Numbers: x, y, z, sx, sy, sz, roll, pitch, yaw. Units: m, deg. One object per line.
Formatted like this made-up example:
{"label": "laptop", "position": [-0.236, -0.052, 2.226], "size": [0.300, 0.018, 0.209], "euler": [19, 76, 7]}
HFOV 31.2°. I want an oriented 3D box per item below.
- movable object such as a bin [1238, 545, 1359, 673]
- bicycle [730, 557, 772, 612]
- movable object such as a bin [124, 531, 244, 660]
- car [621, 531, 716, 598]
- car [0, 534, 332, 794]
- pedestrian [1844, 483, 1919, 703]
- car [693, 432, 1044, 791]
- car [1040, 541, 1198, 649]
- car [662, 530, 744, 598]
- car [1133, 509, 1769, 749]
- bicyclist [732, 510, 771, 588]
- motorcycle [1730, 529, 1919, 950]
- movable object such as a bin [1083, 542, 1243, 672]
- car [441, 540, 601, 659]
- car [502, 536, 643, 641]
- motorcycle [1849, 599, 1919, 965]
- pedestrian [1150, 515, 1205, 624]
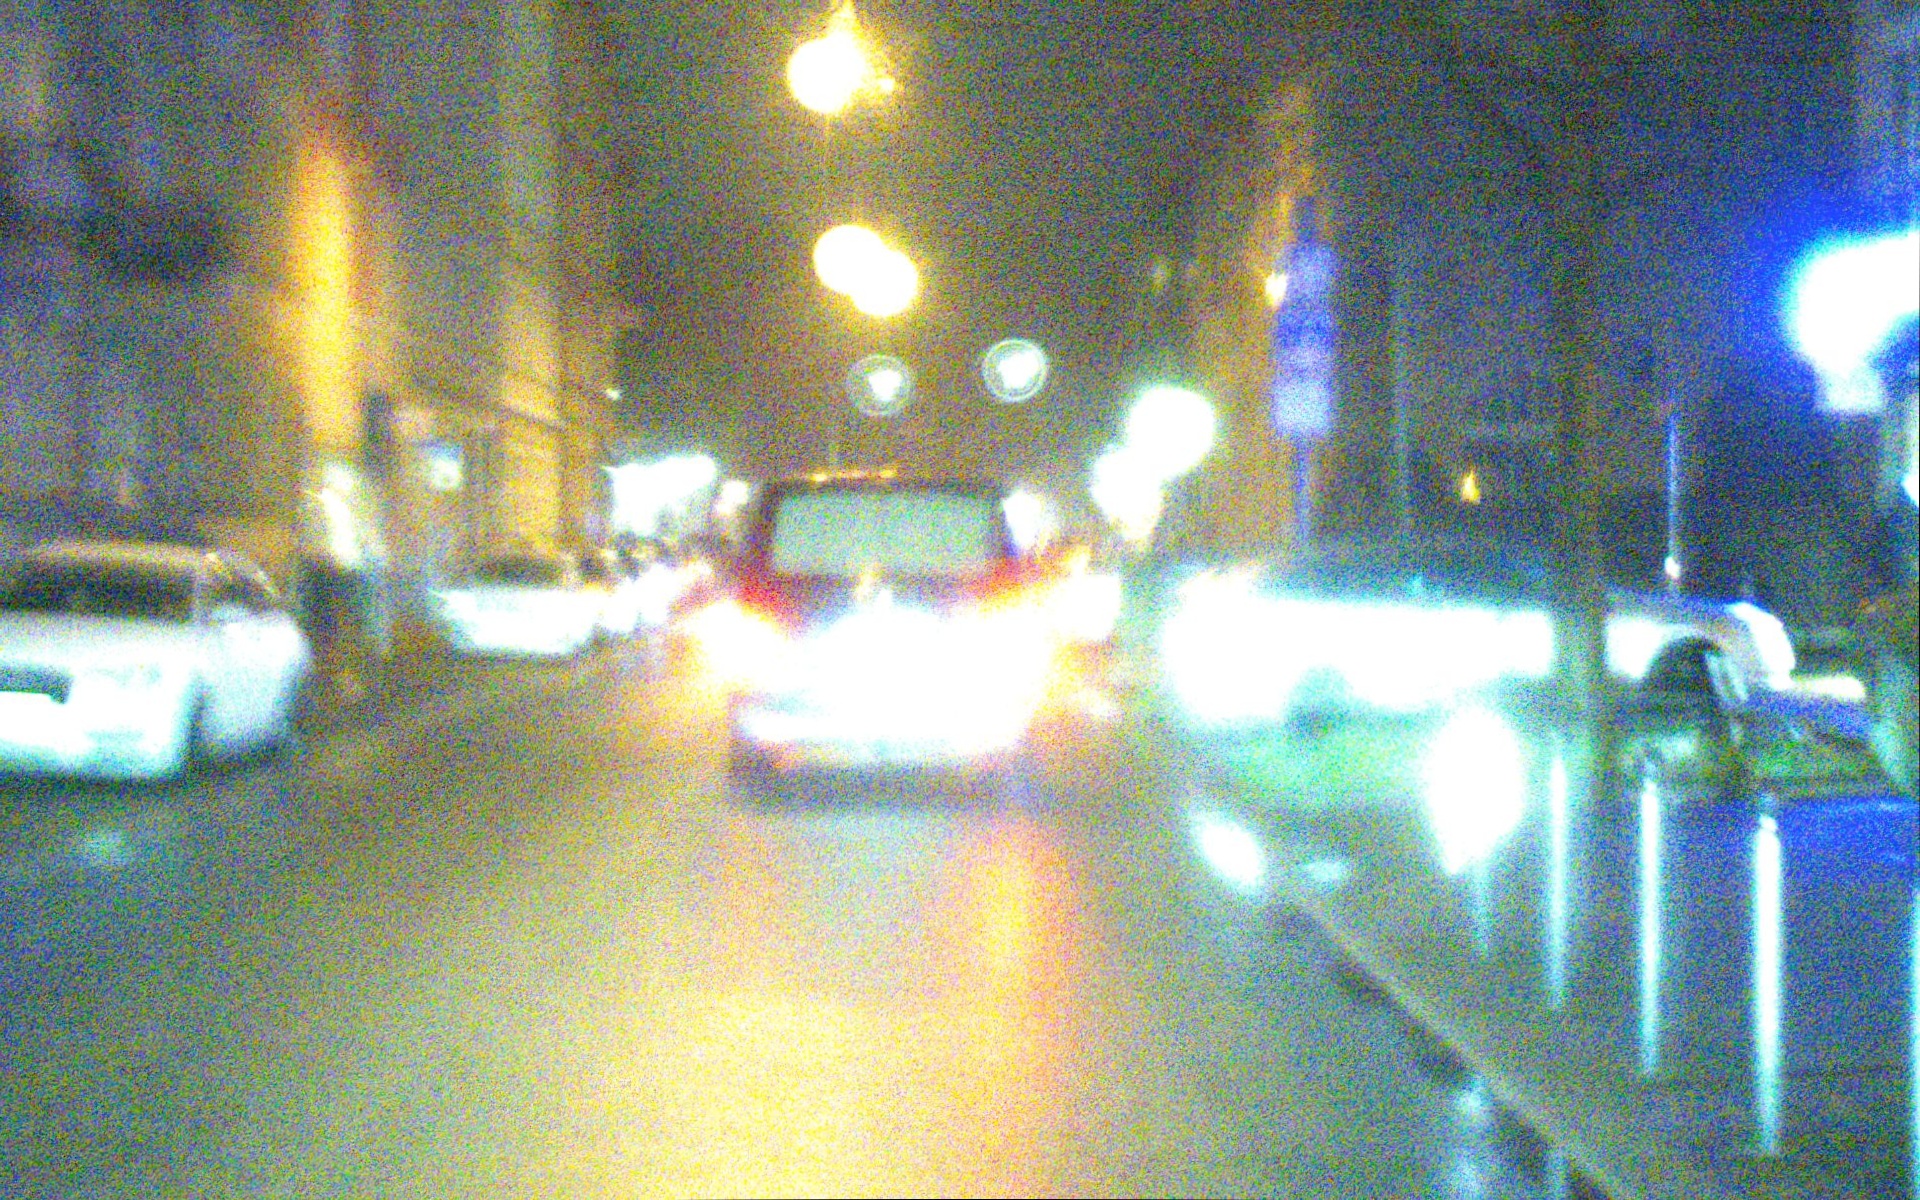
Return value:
{"label": "movable object such as a bin", "position": [3.852, 0.089, 39.077], "size": [1.309, 1.424, 1.050], "euler": [0, 1, 9]}
{"label": "bicycle", "position": [-4.225, -0.320, 69.556], "size": [0.727, 1.069, 2.348], "euler": [-1, 1, -1]}
{"label": "movable object such as a bin", "position": [-8.951, -0.062, 39.716], "size": [1.101, 1.449, 1.379], "euler": [-1, 1, -2]}
{"label": "car", "position": [-6.633, -0.833, 78.566], "size": [1.832, 1.481, 4.595], "euler": [0, 1, -1]}
{"label": "car", "position": [-5.660, 0.347, 23.499], "size": [1.767, 1.478, 4.772], "euler": [3, 1, 0]}
{"label": "pedestrian", "position": [7.768, -0.068, 28.506], "size": [0.703, 1.782, 0.624], "euler": [-2, 2, 3]}
{"label": "car", "position": [-0.529, 0.016, 21.971], "size": [1.996, 2.042, 4.694], "euler": [0, 1, 0]}
{"label": "car", "position": [2.221, -0.104, 49.057], "size": [1.993, 1.459, 4.417], "euler": [0, 1, -1]}
{"label": "car", "position": [-6.672, -0.961, 89.558], "size": [1.832, 1.711, 4.595], "euler": [0, 1, -1]}
{"label": "car", "position": [3.674, 0.198, 26.283], "size": [4.512, 1.525, 1.780], "euler": [-3, 1, -1]}
{"label": "bicyclist", "position": [-4.218, -1.034, 69.553], "size": [0.718, 1.551, 0.895], "euler": [-1, 1, -1]}
{"label": "motorcycle", "position": [4.364, 0.478, 13.717], "size": [2.288, 1.583, 0.867], "euler": [-4, 1, -1]}
{"label": "movable object such as a bin", "position": [2.288, 0.063, 38.695], "size": [1.337, 1.424, 1.201], "euler": [-1, 1, -37]}
{"label": "car", "position": [-5.842, -0.040, 46.087], "size": [1.672, 1.486, 3.722], "euler": [1, 1, -1]}
{"label": "car", "position": [-5.978, -0.208, 53.457], "size": [1.774, 1.567, 4.135], "euler": [0, 1, -1]}
{"label": "motorcycle", "position": [4.546, 0.602, 12.778], "size": [2.172, 1.314, 0.867], "euler": [-4, 1, -1]}
{"label": "pedestrian", "position": [3.662, -0.518, 57.956], "size": [0.862, 1.782, 1.083], "euler": [-2, 2, 3]}
